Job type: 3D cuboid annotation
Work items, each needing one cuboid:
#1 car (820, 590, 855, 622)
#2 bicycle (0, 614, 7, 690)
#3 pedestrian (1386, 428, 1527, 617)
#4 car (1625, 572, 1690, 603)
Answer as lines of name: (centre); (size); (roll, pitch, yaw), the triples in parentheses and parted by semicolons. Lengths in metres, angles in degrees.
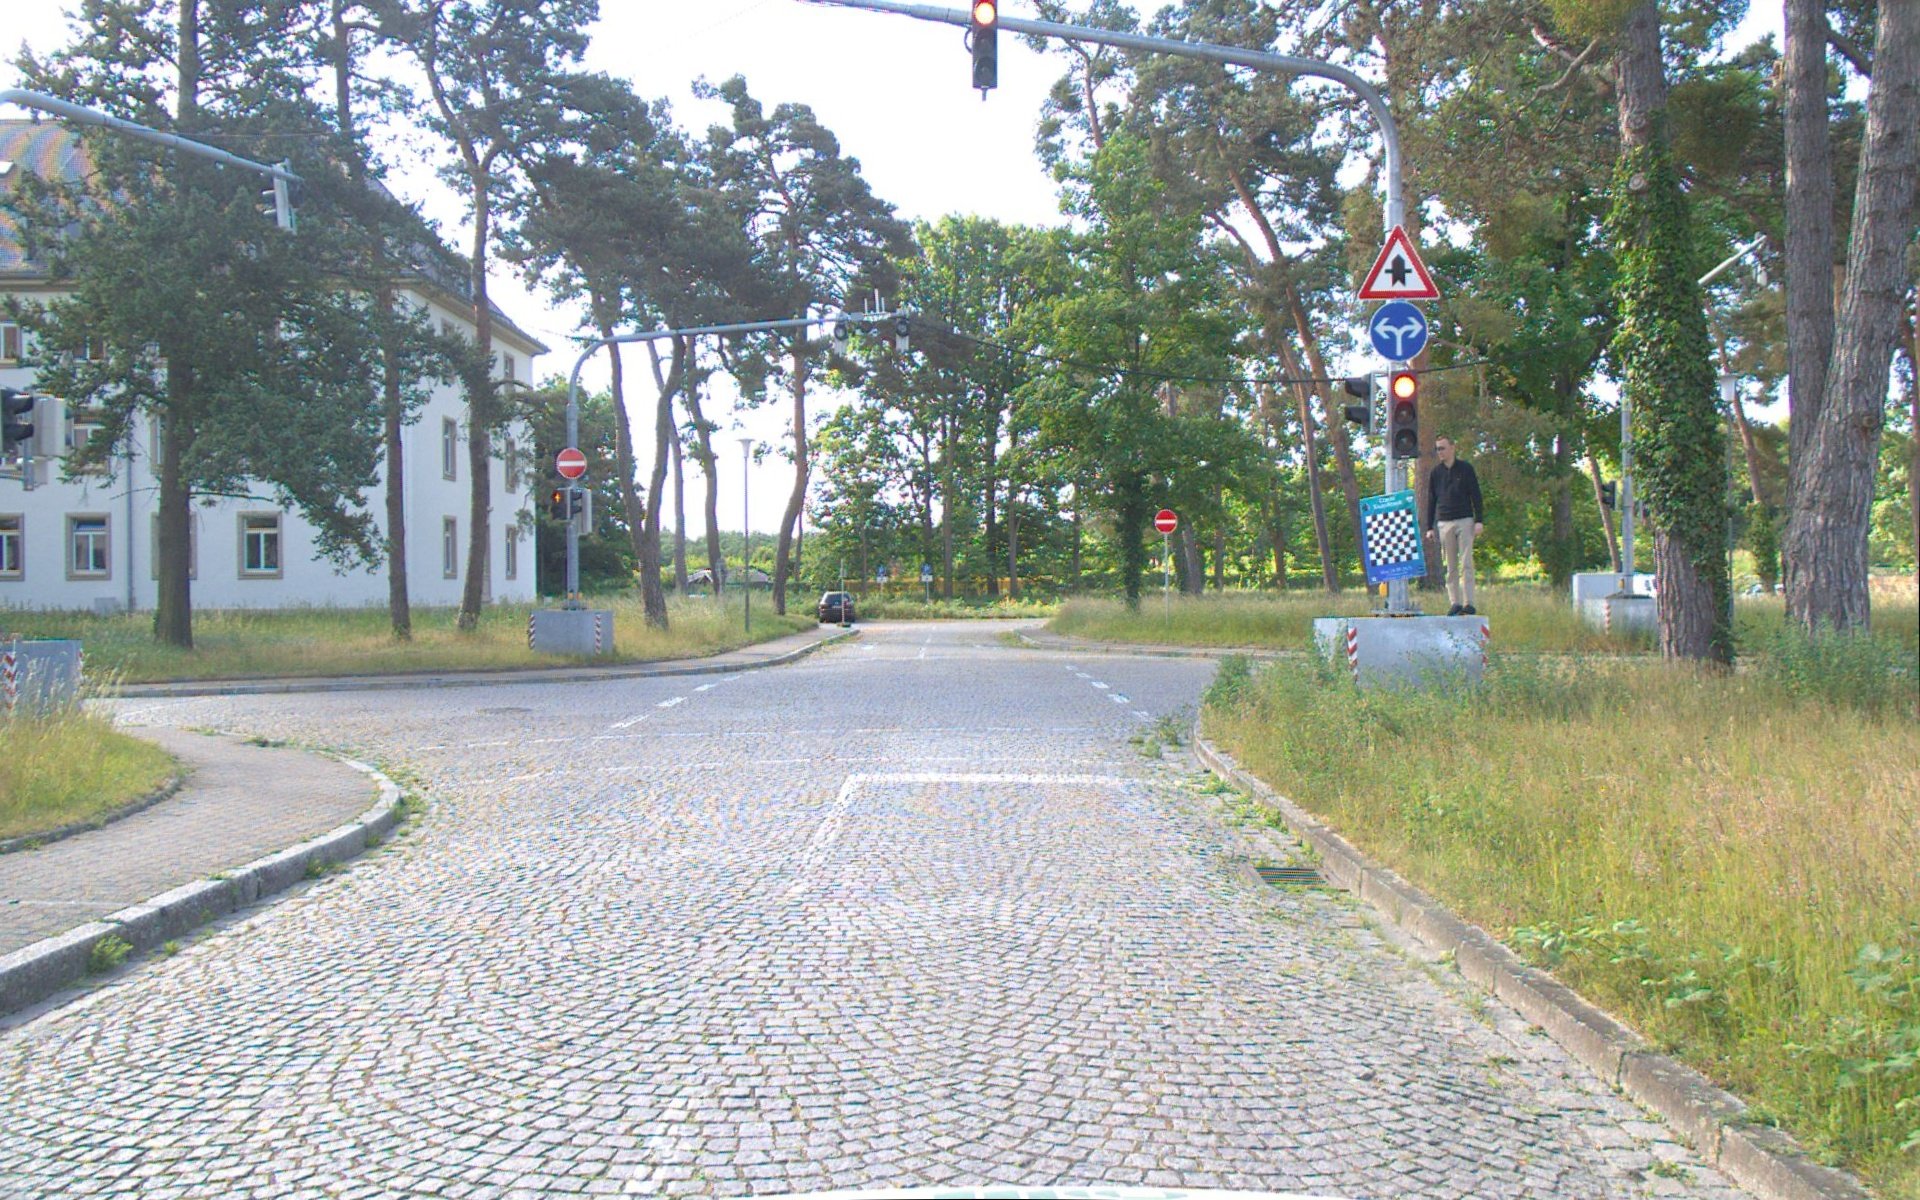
car: (-6.232, 0.291, 84.392); (1.675, 1.522, 3.917); (-1, 0, -3)
bicycle: (-16.616, 0.861, 26.909); (1.824, 1.242, 0.635); (-1, 0, -1)
pedestrian: (5.058, -0.760, 16.826); (1.146, 1.827, 1.061); (-1, 0, 29)
car: (38.248, -0.685, 90.794); (1.790, 1.609, 4.162); (-1, 0, -1)
